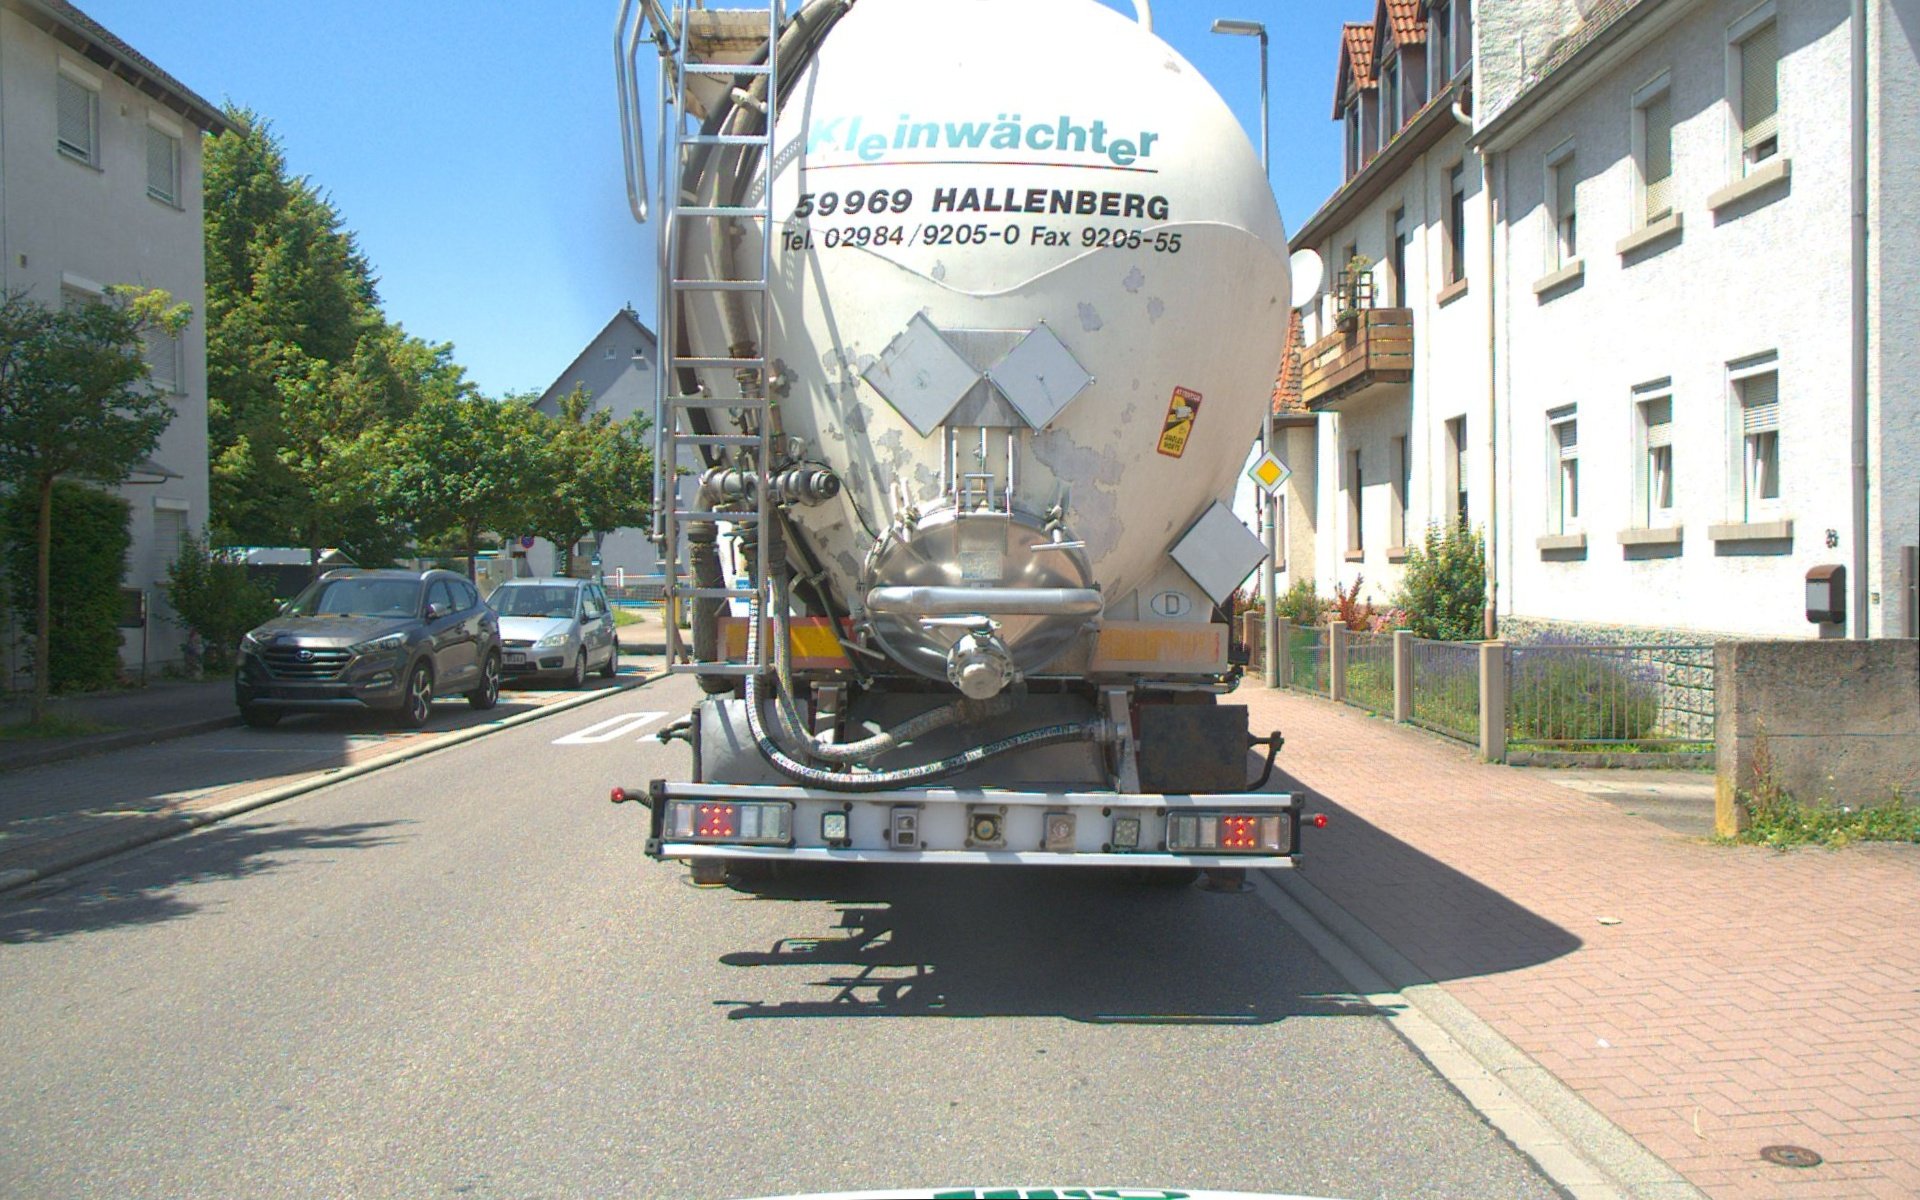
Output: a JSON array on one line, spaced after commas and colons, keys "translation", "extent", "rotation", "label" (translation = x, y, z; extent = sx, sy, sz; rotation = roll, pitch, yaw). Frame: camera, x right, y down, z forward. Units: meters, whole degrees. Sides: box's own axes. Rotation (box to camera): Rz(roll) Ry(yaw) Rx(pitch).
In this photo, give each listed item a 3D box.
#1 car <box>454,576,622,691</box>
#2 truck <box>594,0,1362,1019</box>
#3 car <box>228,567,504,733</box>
[{"translation": [-6.357, 0.454, 25.300], "extent": [1.663, 1.608, 3.837], "rotation": [0, 1, -1], "label": "car"}, {"translation": [0.016, -0.677, 10.375], "extent": [2.587, 4.086, 9.560], "rotation": [0, 1, -1], "label": "truck"}, {"translation": [-6.478, 0.478, 18.511], "extent": [1.657, 1.648, 3.997], "rotation": [0, 1, 0], "label": "car"}]
